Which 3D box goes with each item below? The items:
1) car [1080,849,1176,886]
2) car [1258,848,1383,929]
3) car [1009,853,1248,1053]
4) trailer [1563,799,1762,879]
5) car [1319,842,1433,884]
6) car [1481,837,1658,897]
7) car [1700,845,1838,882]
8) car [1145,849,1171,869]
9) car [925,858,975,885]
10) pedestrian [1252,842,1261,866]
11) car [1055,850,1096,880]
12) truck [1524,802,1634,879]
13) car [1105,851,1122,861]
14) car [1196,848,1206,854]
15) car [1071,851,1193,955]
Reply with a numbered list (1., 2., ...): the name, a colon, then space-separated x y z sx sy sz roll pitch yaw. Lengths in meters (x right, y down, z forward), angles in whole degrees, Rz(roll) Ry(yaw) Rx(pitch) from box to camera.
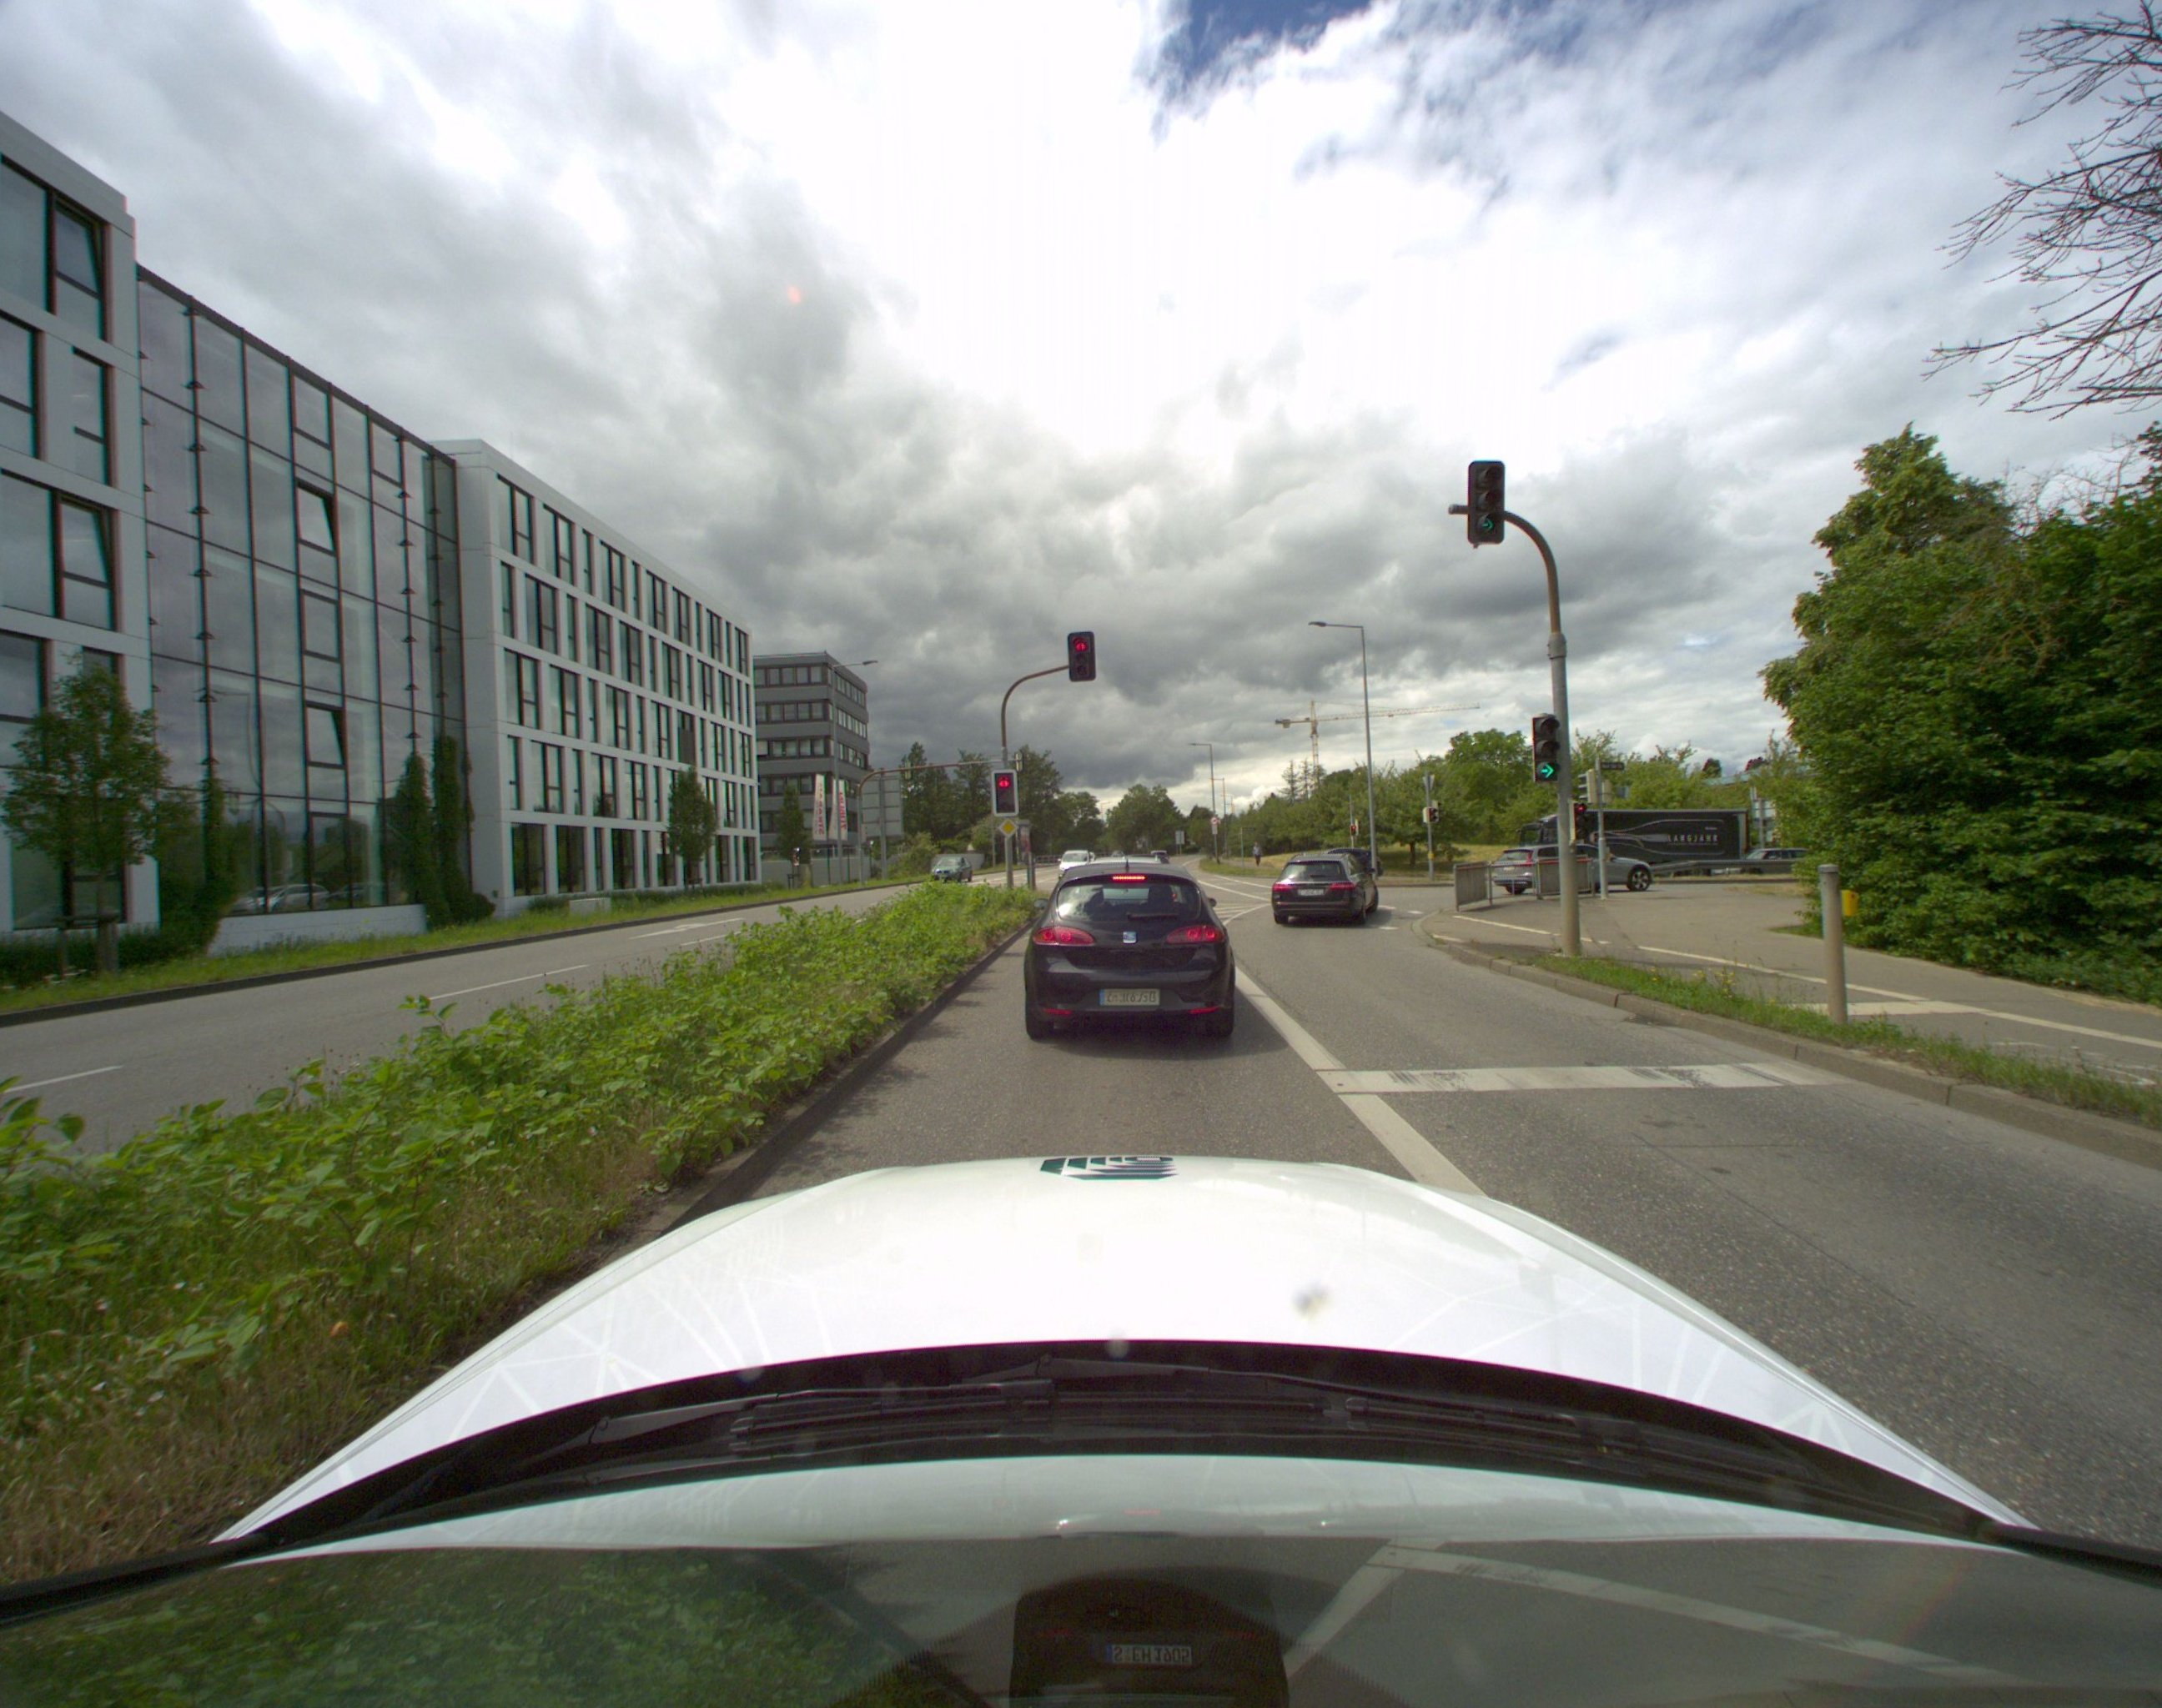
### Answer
1. car: 2.205 0.629 39.004 4.299 1.525 1.996 -2 0 -6
2. car: 5.498 0.668 18.196 1.855 1.440 5.230 -3 0 25
3. car: 0.411 0.741 7.879 1.766 1.451 3.584 -1 0 2
4. trailer: 27.215 -0.682 38.342 7.542 3.458 2.004 -1 0 7
5. car: 13.023 0.394 36.147 4.296 1.615 1.997 -2 0 -5
6. car: 14.598 0.362 24.408 4.434 1.518 1.862 -3 0 -11
7. car: 28.788 0.396 34.214 3.960 1.420 2.007 -1 0 12
8. car: 6.382 0.424 67.270 1.984 1.530 4.006 -2 0 6
9. car: -7.215 0.918 45.298 1.986 1.352 4.002 -1 0 2
10. pedestrian: 12.958 0.004 60.073 0.556 1.726 0.588 -1 0 2
11. car: -0.265 0.616 47.302 1.984 1.596 4.006 -2 0 5
12. truck: 23.644 -0.624 38.829 3.963 3.469 2.005 -1 0 9
13. car: 4.986 0.268 124.665 1.981 1.352 4.011 -1 0 10
14. car: 26.847 -0.752 182.494 1.981 1.352 4.011 -1 0 10
15. car: 0.762 0.734 14.052 1.768 1.491 3.581 -3 0 0
